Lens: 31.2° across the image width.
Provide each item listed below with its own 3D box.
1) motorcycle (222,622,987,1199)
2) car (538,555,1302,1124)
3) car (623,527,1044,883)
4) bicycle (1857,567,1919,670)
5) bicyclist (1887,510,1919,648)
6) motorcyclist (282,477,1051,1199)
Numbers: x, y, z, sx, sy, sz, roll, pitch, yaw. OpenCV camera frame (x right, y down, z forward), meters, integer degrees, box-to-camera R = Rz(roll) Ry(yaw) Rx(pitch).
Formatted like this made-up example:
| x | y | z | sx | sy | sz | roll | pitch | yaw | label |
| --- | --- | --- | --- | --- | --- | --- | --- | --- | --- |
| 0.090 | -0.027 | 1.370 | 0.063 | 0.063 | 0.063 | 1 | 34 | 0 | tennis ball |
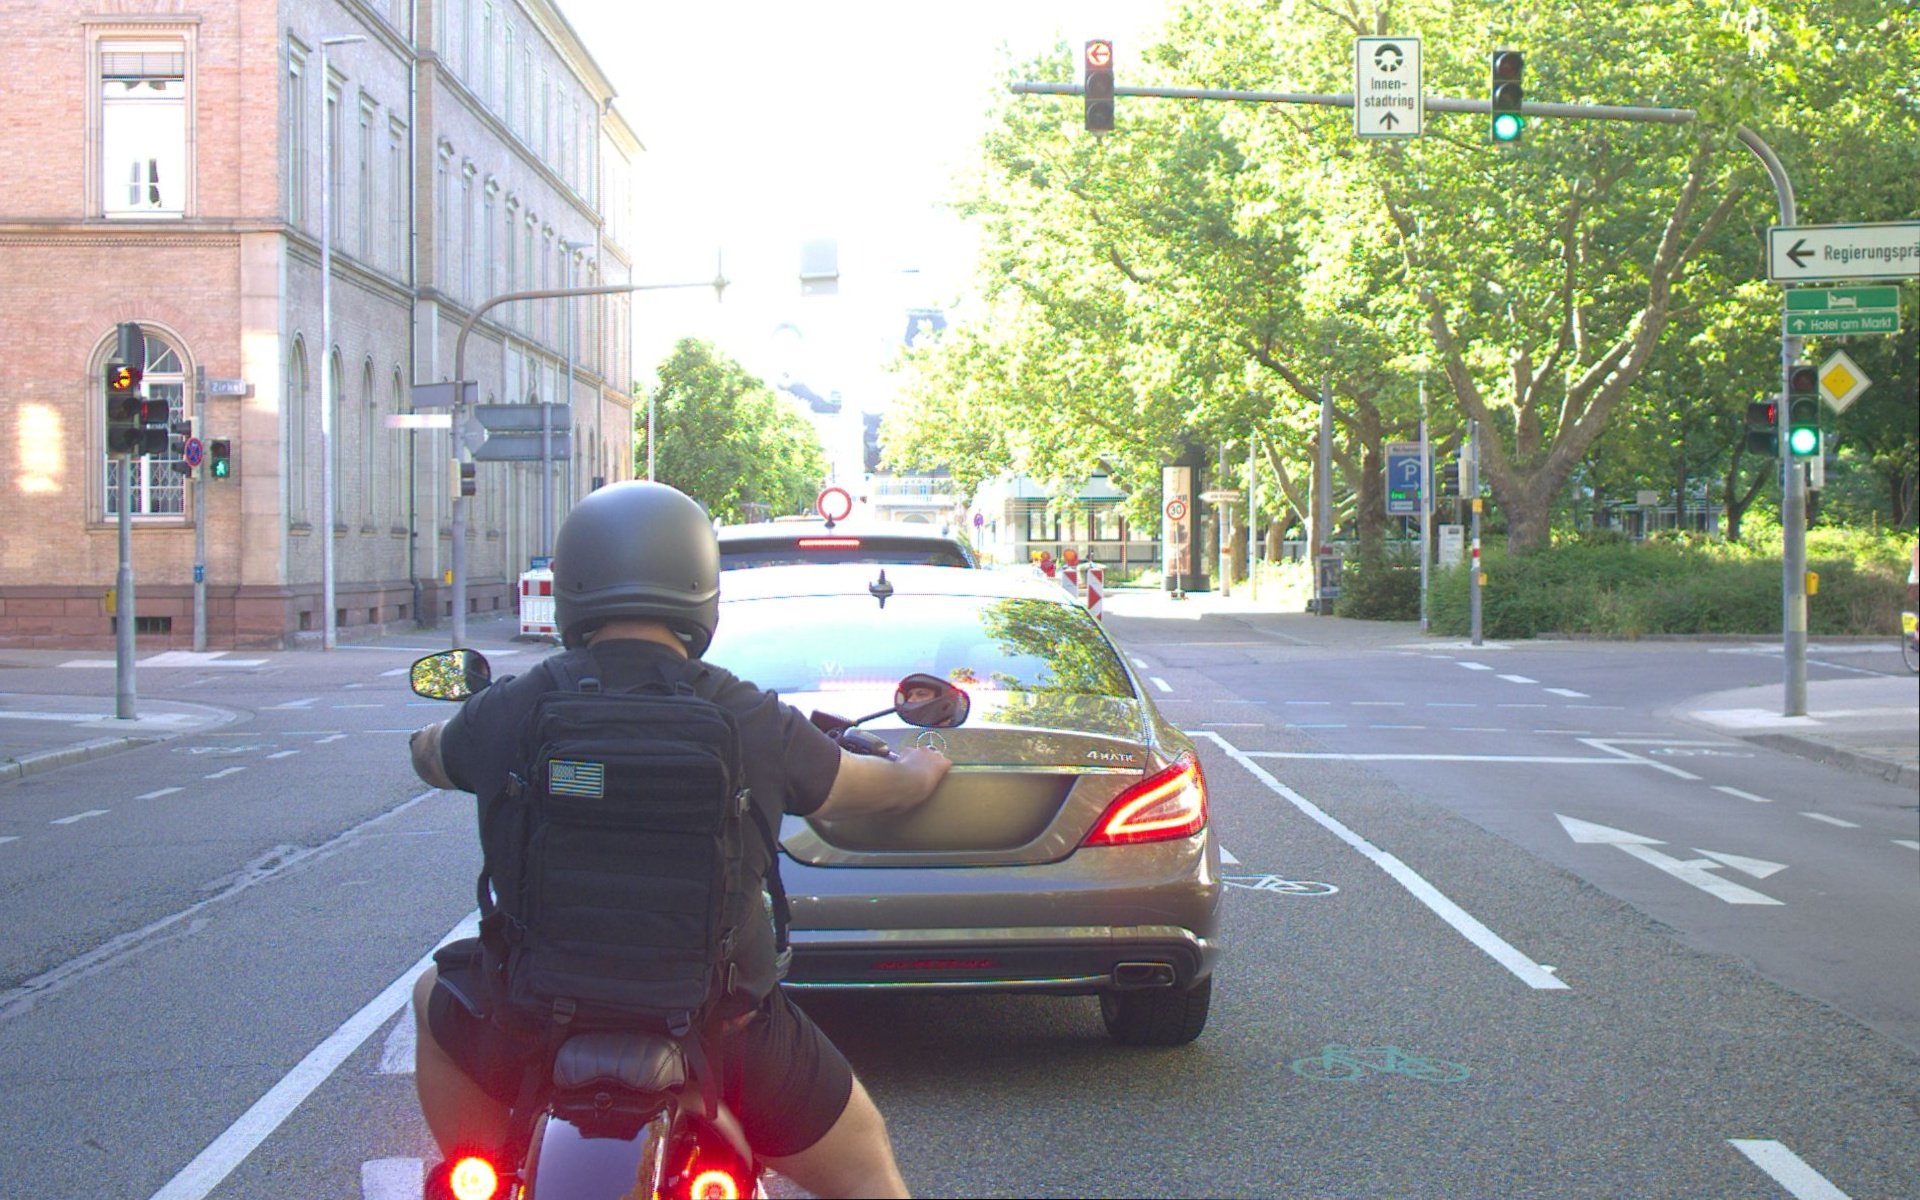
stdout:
| x | y | z | sx | sy | sz | roll | pitch | yaw | label |
| --- | --- | --- | --- | --- | --- | --- | --- | --- | --- |
| -0.469 | 0.738 | 5.528 | 0.962 | 1.352 | 2.320 | 1 | 1 | -1 | motorcycle |
| -0.350 | 0.586 | 11.093 | 1.901 | 1.436 | 4.290 | 0 | 1 | -8 | car |
| -0.651 | 0.417 | 16.759 | 1.813 | 1.530 | 3.849 | 0 | 1 | -3 | car |
| 11.248 | 0.215 | 39.520 | 0.715 | 1.168 | 2.177 | 1 | 1 | -19 | bicycle |
| 11.252 | -0.235 | 39.563 | 0.716 | 1.577 | 0.936 | 1 | 0 | -19 | bicyclist |
| -0.419 | 0.619 | 5.256 | 1.061 | 1.577 | 0.908 | 1 | 0 | -1 | motorcyclist |
